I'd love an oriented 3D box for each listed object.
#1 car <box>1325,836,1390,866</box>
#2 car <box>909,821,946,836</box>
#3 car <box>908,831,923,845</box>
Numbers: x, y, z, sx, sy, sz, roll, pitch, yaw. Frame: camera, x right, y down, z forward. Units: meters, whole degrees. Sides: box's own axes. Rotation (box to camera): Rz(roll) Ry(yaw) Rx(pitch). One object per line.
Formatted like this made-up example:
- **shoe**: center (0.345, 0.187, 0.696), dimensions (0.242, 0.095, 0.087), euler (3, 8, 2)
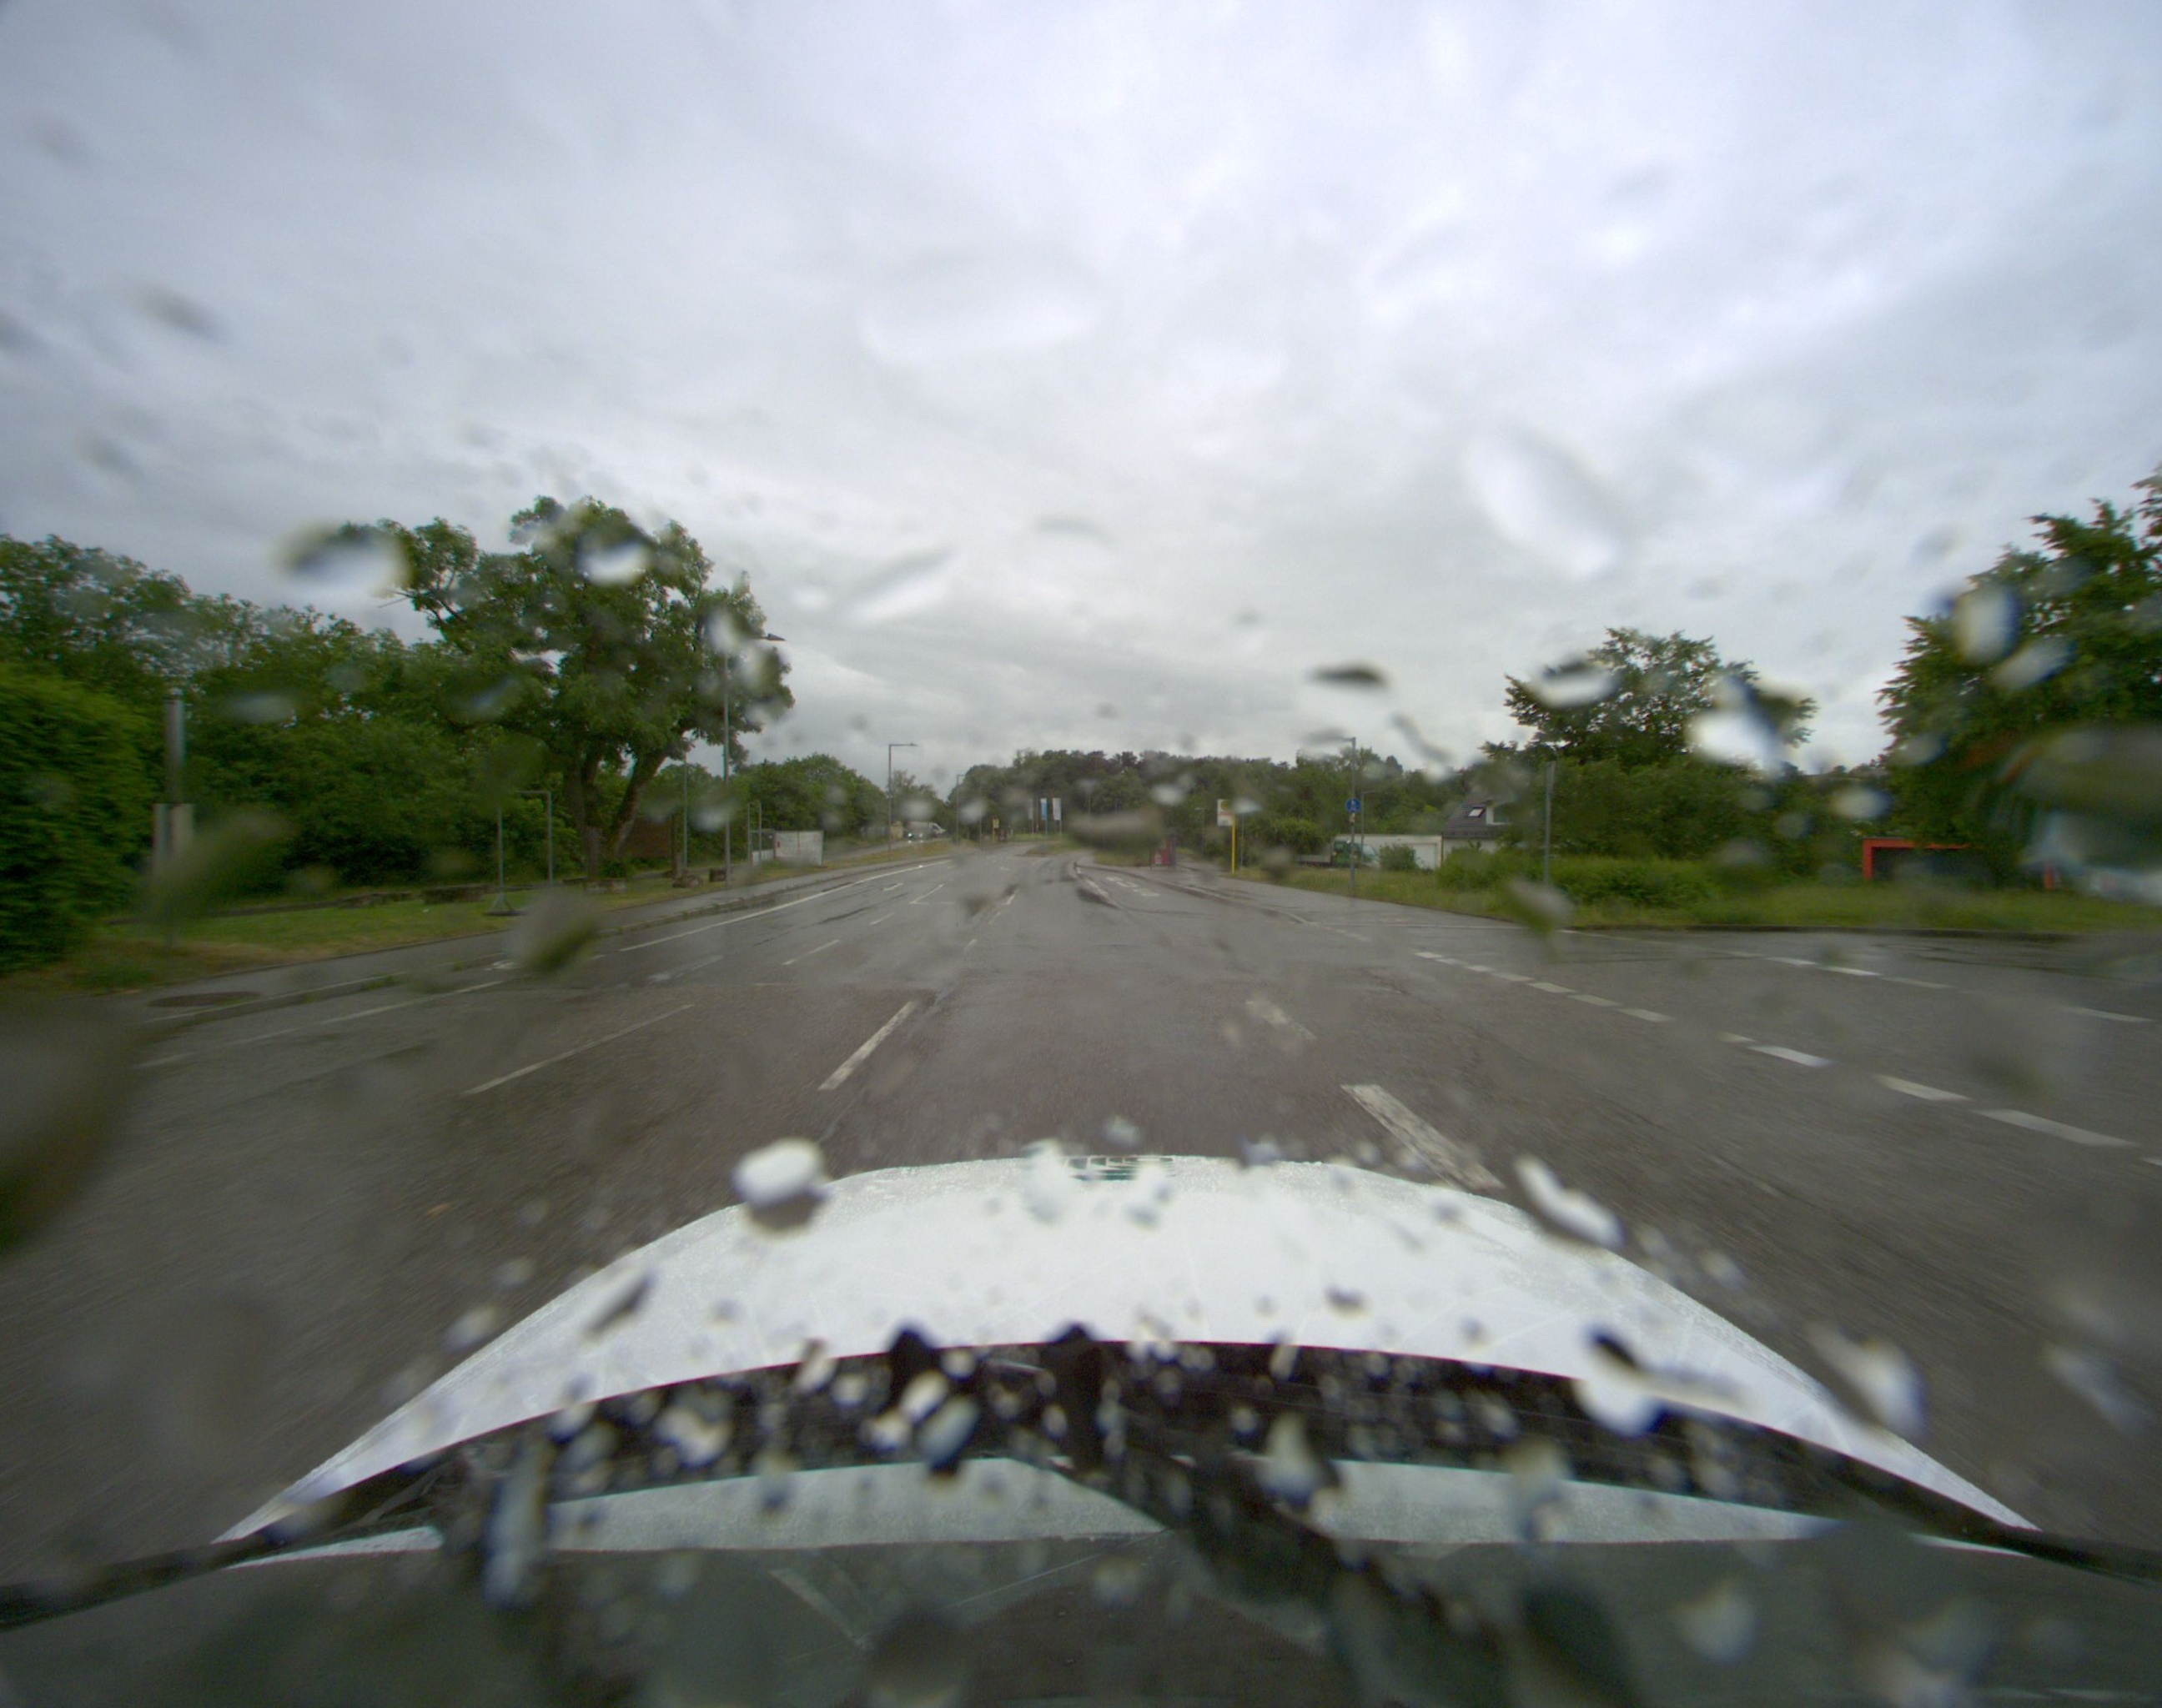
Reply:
- **car**: center (17.583, -0.138, 51.867), dimensions (2.011, 1.691, 3.381), euler (5, -5, -43)
- **car**: center (-24.948, -4.170, 132.387), dimensions (5.662, 2.404, 1.998), euler (0, -1, -3)
- **car**: center (-20.442, -1.925, 100.581), dimensions (1.691, 1.620, 3.876), euler (0, 0, -14)
